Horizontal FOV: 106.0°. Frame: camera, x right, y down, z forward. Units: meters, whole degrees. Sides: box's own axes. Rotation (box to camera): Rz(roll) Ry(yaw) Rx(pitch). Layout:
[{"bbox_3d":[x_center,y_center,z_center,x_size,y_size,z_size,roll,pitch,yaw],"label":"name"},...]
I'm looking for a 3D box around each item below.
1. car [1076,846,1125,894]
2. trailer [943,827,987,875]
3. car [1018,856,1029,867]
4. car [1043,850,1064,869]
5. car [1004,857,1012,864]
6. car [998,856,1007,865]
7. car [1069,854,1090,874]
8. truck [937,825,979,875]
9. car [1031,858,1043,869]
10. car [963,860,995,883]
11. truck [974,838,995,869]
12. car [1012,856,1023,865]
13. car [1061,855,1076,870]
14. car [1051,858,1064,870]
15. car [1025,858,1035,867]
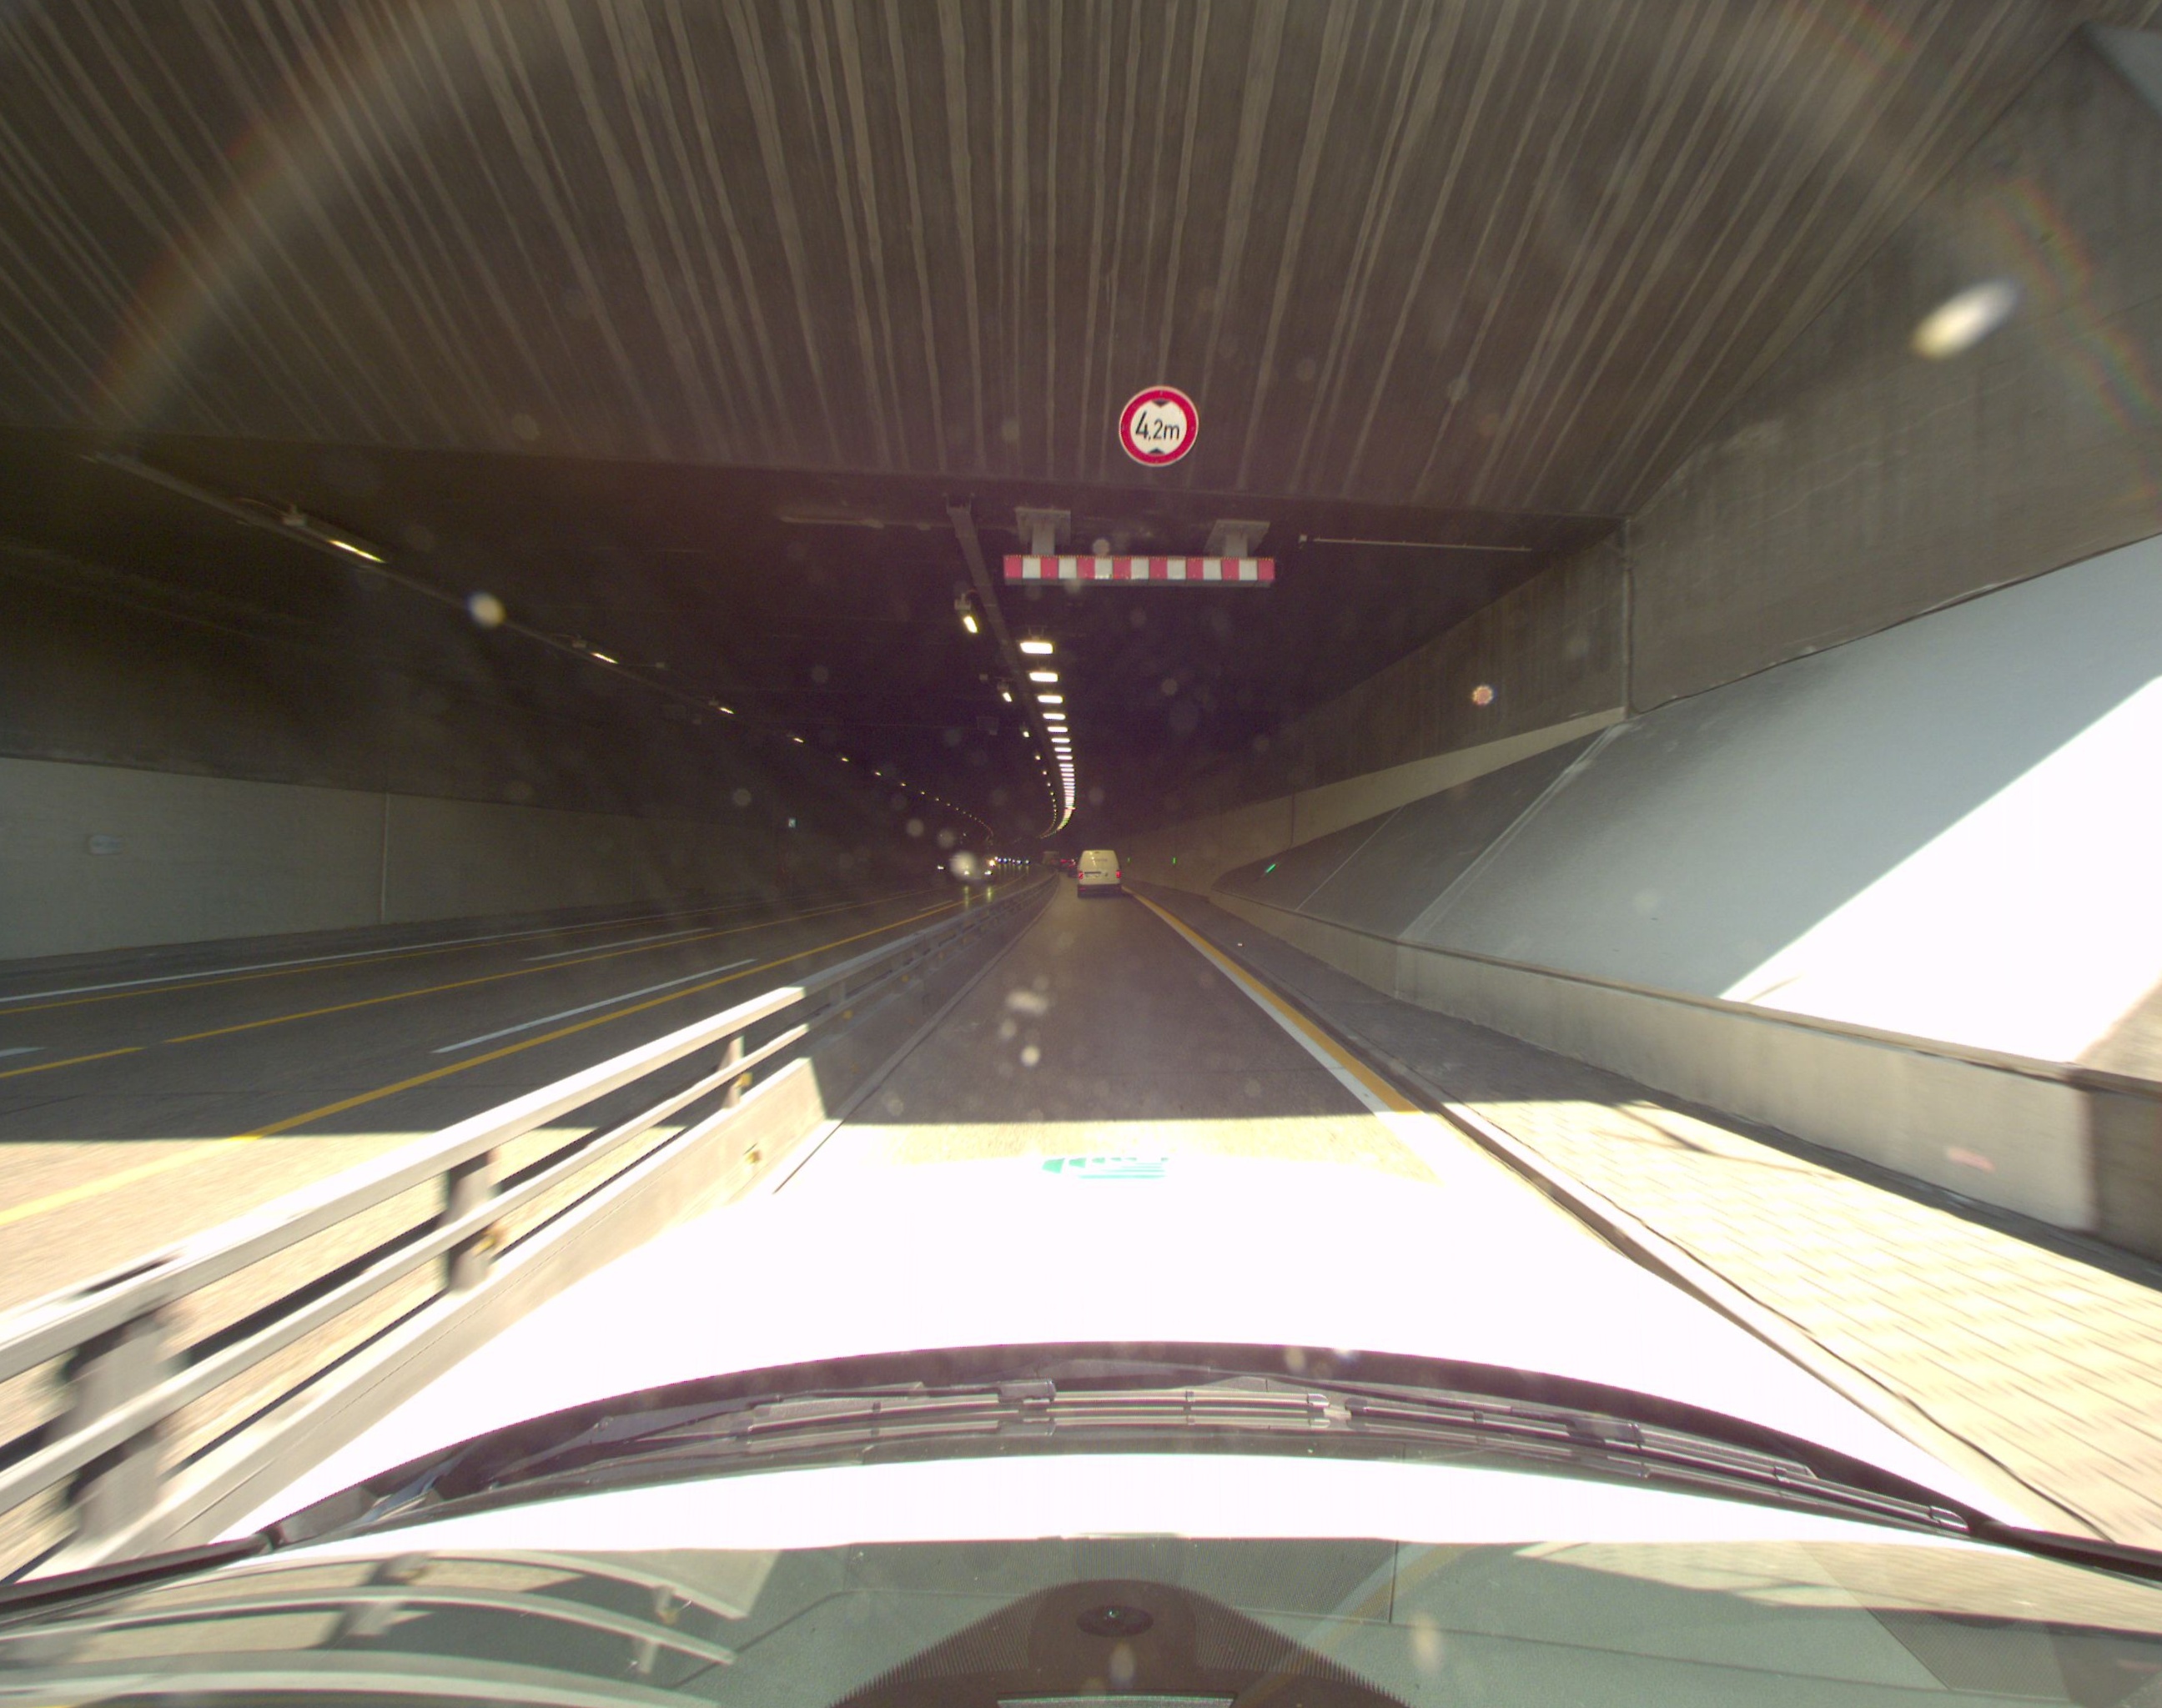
[{"bbox_3d":[0.724,0.629,32.915,1.803,1.794,3.729,1,-1,-1],"label":"car"},{"bbox_3d":[-10.557,-0.191,75.535,2.807,3.902,15.439,-1,0,-4],"label":"trailer"},{"bbox_3d":[-10.428,1.312,146.983,1.806,1.855,5.057,-1,0,-6],"label":"car"},{"bbox_3d":[-4.538,0.926,132.418,2.811,2.773,7.083,-3,-1,-7],"label":"car"},{"bbox_3d":[-18.420,1.682,204.852,1.808,1.718,5.052,0,0,-9],"label":"car"},{"bbox_3d":[-16.999,1.355,176.368,1.808,1.808,5.052,0,0,-9],"label":"car"},{"bbox_3d":[-0.160,0.793,65.695,1.594,1.546,3.675,-1,0,-1],"label":"car"},{"bbox_3d":[-10.074,-0.266,67.452,2.804,3.916,6.447,-1,0,-3],"label":"truck"},{"bbox_3d":[-9.152,1.945,168.222,2.033,2.021,4.620,4,-1,-6],"label":"car"},{"bbox_3d":[-6.592,1.110,53.076,1.818,1.456,4.086,-1,0,-4],"label":"car"},{"bbox_3d":[-13.252,-0.093,111.965,2.655,4.143,5.346,-1,-1,-5],"label":"truck"},{"bbox_3d":[-13.610,1.386,173.699,1.926,1.848,4.347,-2,2,-10],"label":"car"},{"bbox_3d":[-1.475,0.953,92.288,1.594,1.546,3.674,-1,0,-2],"label":"car"},{"bbox_3d":[-3.296,1.392,114.526,1.595,1.546,3.671,-1,0,-5],"label":"car"},{"bbox_3d":[-11.544,1.990,183.800,1.939,2.021,4.648,0,-1,-8],"label":"car"}]
